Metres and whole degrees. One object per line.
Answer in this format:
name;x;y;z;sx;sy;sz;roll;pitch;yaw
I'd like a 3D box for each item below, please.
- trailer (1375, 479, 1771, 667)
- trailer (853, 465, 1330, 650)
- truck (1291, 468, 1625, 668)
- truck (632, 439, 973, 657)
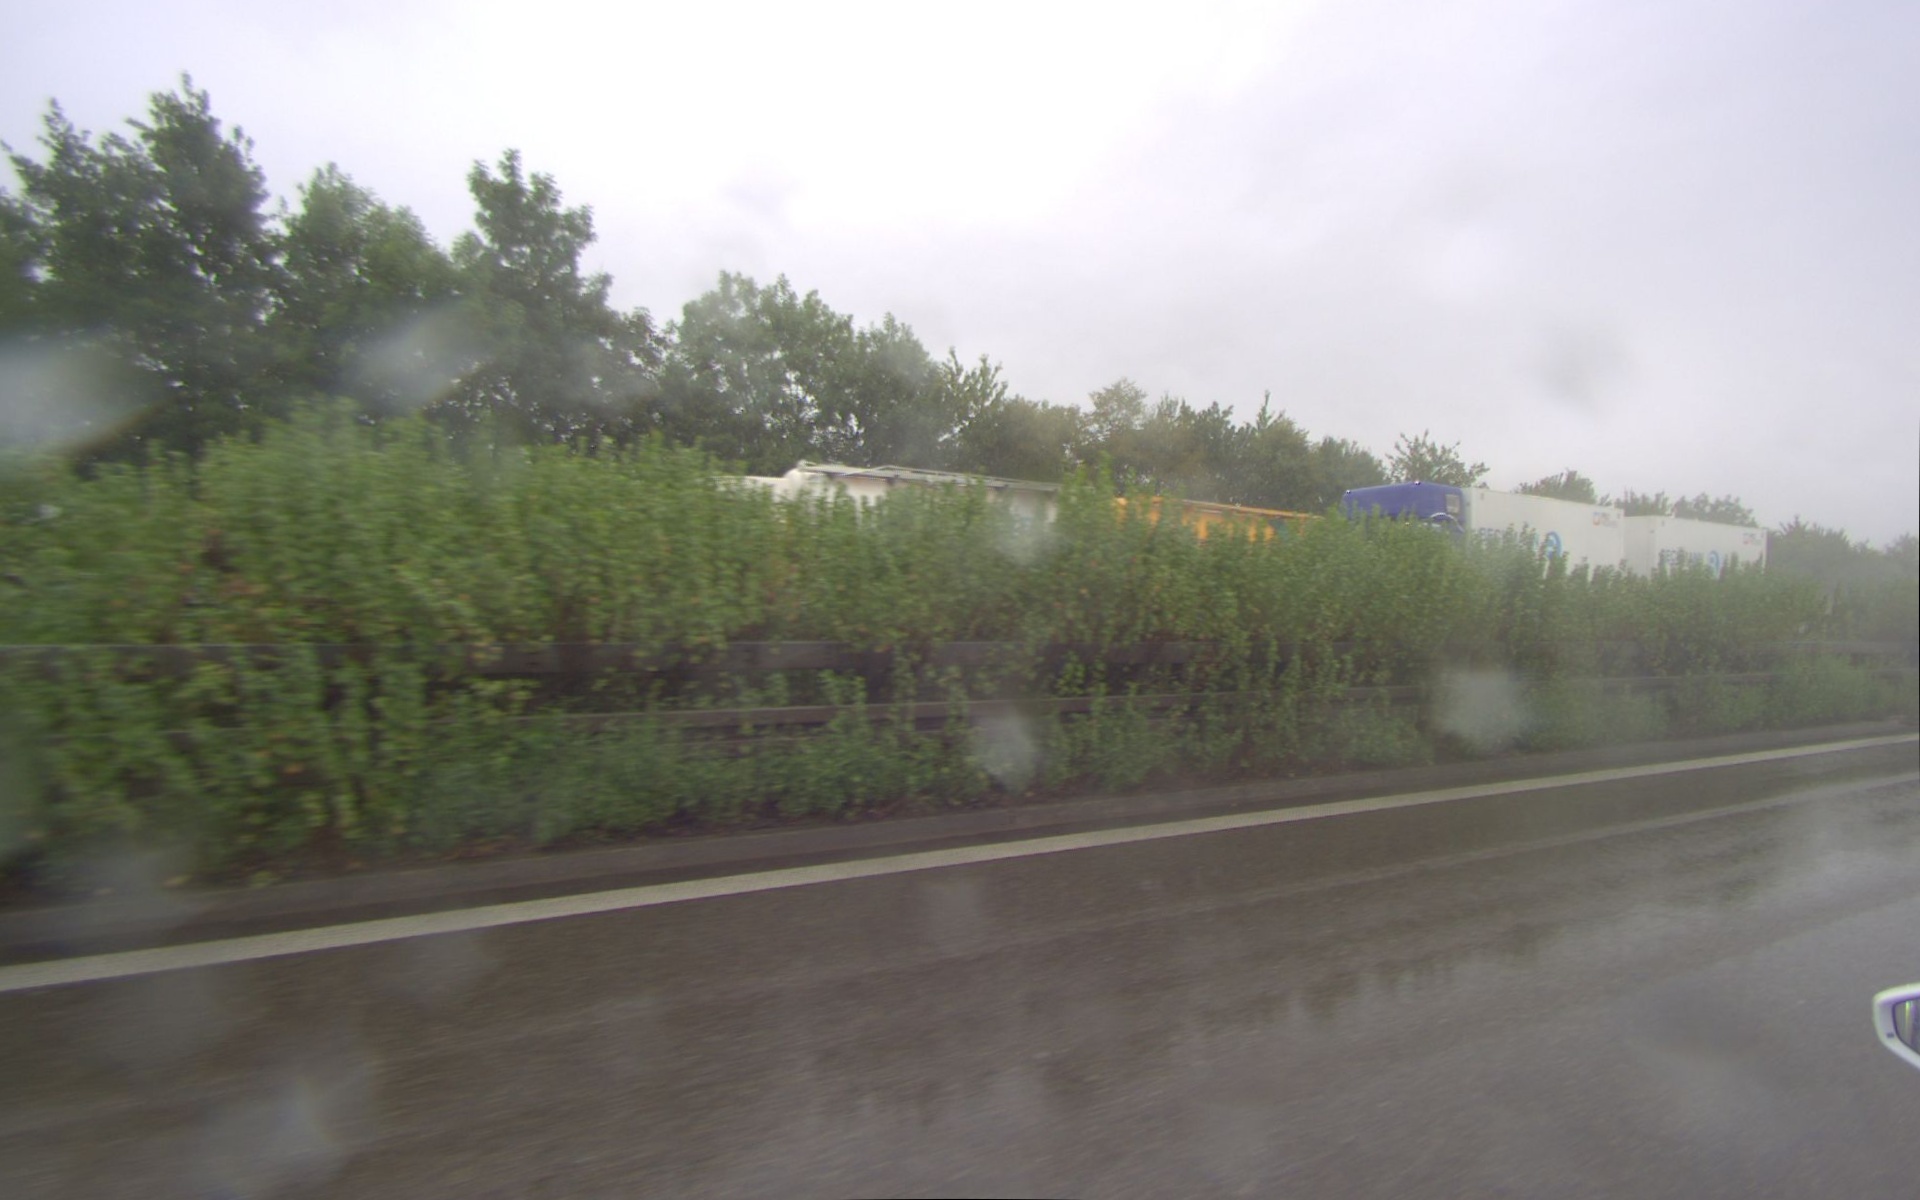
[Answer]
trailer;19.276;-0.516;30.921;14.852;4.758;3.850;2;0;-31
trailer;3.889;-0.750;26.062;13.105;3.929;3.182;2;0;-31
truck;13.828;-0.685;27.629;9.300;4.701;3.816;1;0;-31
truck;-3.350;-0.904;21.678;6.548;4.046;3.135;2;0;-31
